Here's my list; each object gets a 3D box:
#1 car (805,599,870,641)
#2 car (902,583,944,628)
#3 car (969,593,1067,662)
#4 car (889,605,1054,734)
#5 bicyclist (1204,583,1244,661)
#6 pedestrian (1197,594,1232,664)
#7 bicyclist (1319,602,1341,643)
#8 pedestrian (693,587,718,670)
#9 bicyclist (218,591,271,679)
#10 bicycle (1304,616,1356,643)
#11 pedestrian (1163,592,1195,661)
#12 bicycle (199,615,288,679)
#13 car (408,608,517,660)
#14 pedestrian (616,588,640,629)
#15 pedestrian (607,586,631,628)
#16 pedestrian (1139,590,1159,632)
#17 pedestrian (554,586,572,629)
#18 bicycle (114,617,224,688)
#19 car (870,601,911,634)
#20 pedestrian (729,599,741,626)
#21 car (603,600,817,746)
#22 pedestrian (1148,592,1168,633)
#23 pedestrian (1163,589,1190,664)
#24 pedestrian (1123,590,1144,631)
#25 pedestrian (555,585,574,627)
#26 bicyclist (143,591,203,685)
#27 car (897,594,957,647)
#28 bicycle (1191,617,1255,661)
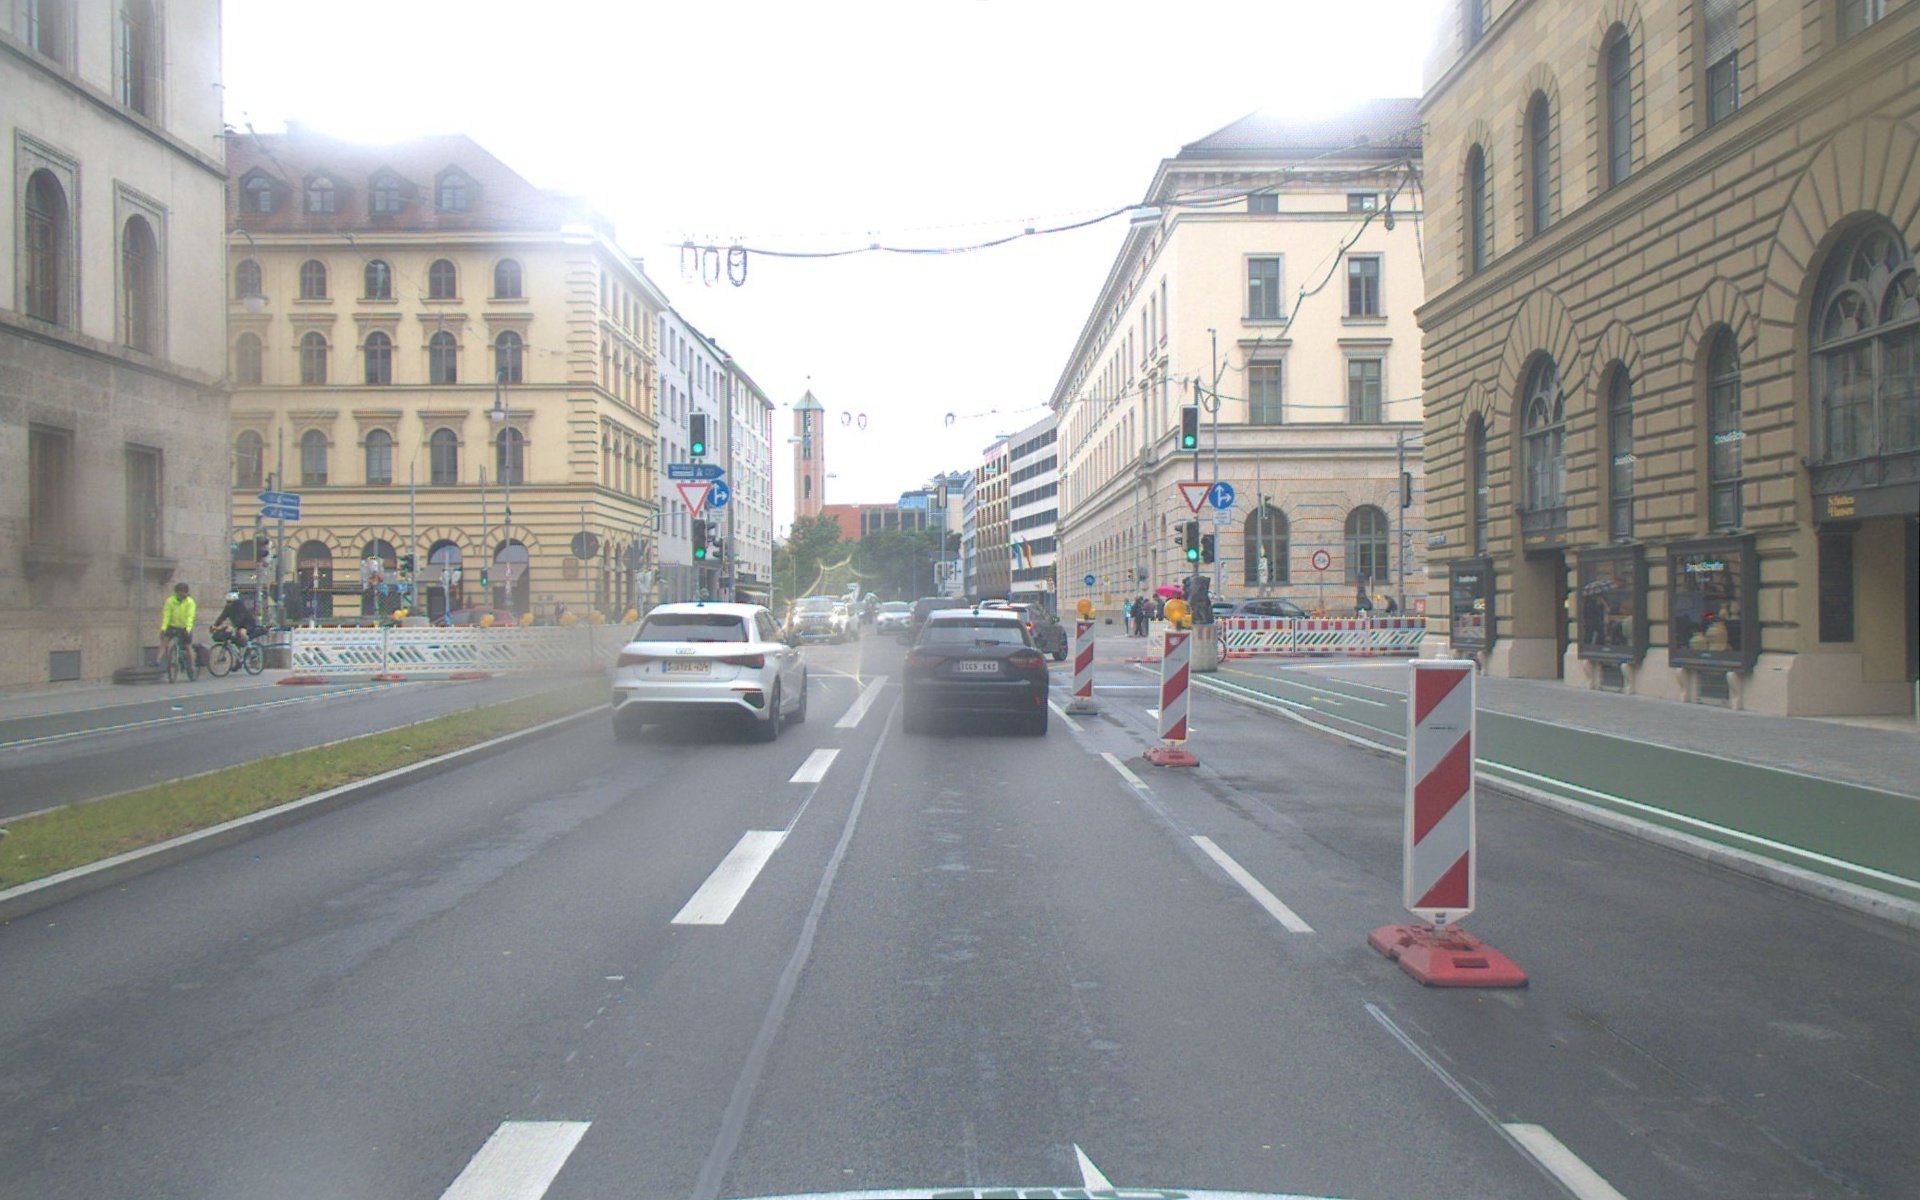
[{"bbox_3d":[-5.173,0.842,70.373,1.755,1.707,4.236,-1,0,9],"label":"car"},{"bbox_3d":[-1.749,0.264,78.629,1.953,2.049,3.999,0,0,-1],"label":"car"},{"bbox_3d":[1.518,0.657,41.916,1.731,1.645,4.003,1,0,13],"label":"car"},{"bbox_3d":[0.099,0.776,20.344,1.825,1.412,3.999,0,0,-1],"label":"car"},{"bbox_3d":[6.455,0.530,40.397,0.561,1.886,0.789,1,0,-35],"label":"bicyclist"},{"bbox_3d":[5.830,0.657,37.907,0.688,1.594,0.682,1,0,2],"label":"pedestrian"},{"bbox_3d":[15.000,0.902,67.058,0.728,1.643,0.795,1,0,2],"label":"bicyclist"},{"bbox_3d":[-5.542,0.612,36.019,0.503,1.773,1.041,0,0,-10],"label":"pedestrian"},{"bbox_3d":[-14.906,0.721,34.470,0.781,1.807,0.689,1,0,3],"label":"bicyclist"},{"bbox_3d":[15.003,1.175,67.058,1.917,1.059,0.795,1,0,2],"label":"bicycle"},{"bbox_3d":[5.156,0.620,38.992,0.688,1.594,0.541,1,0,1],"label":"pedestrian"},{"bbox_3d":[-14.920,0.966,34.516,0.770,1.264,2.200,1,0,4],"label":"bicycle"},{"bbox_3d":[-18.261,1.244,60.832,3.675,1.830,1.862,-1,0,-13],"label":"car"},{"bbox_3d":[-14.524,0.368,72.411,0.718,1.803,0.739,0,0,20],"label":"pedestrian"},{"bbox_3d":[-14.787,0.298,71.662,0.718,1.803,0.761,0,0,20],"label":"pedestrian"},{"bbox_3d":[8.258,0.478,72.390,0.573,1.786,0.818,0,0,30],"label":"pedestrian"},{"bbox_3d":[-16.970,0.327,70.713,0.720,1.803,0.737,1,0,-11],"label":"pedestrian"},{"bbox_3d":[-15.050,0.983,31.558,0.770,1.264,2.450,1,0,4],"label":"bicycle"},{"bbox_3d":[-3.429,0.863,82.252,1.953,1.550,4.232,-1,0,-1],"label":"car"},{"bbox_3d":[-14.856,0.832,109.310,0.722,1.803,0.736,1,0,-1],"label":"pedestrian"},{"bbox_3d":[-2.710,0.735,18.904,1.776,1.449,4.452,1,0,0],"label":"car"},{"bbox_3d":[8.774,0.562,73.297,0.573,1.786,0.818,0,0,30],"label":"pedestrian"},{"bbox_3d":[4.831,0.594,36.933,0.520,1.648,0.674,1,0,2],"label":"pedestrian"},{"bbox_3d":[7.529,0.463,71.831,0.800,1.786,0.680,0,0,16],"label":"pedestrian"},{"bbox_3d":[-17.092,0.251,71.453,0.720,1.803,0.737,1,0,-11],"label":"pedestrian"},{"bbox_3d":[-15.037,0.714,31.597,0.781,1.779,0.689,1,0,3],"label":"bicyclist"},{"bbox_3d":[-1.059,0.634,53.009,1.827,1.629,3.850,-1,0,-1],"label":"car"},{"bbox_3d":[6.426,0.954,40.432,0.580,1.029,1.636,1,0,-35],"label":"bicycle"}]
